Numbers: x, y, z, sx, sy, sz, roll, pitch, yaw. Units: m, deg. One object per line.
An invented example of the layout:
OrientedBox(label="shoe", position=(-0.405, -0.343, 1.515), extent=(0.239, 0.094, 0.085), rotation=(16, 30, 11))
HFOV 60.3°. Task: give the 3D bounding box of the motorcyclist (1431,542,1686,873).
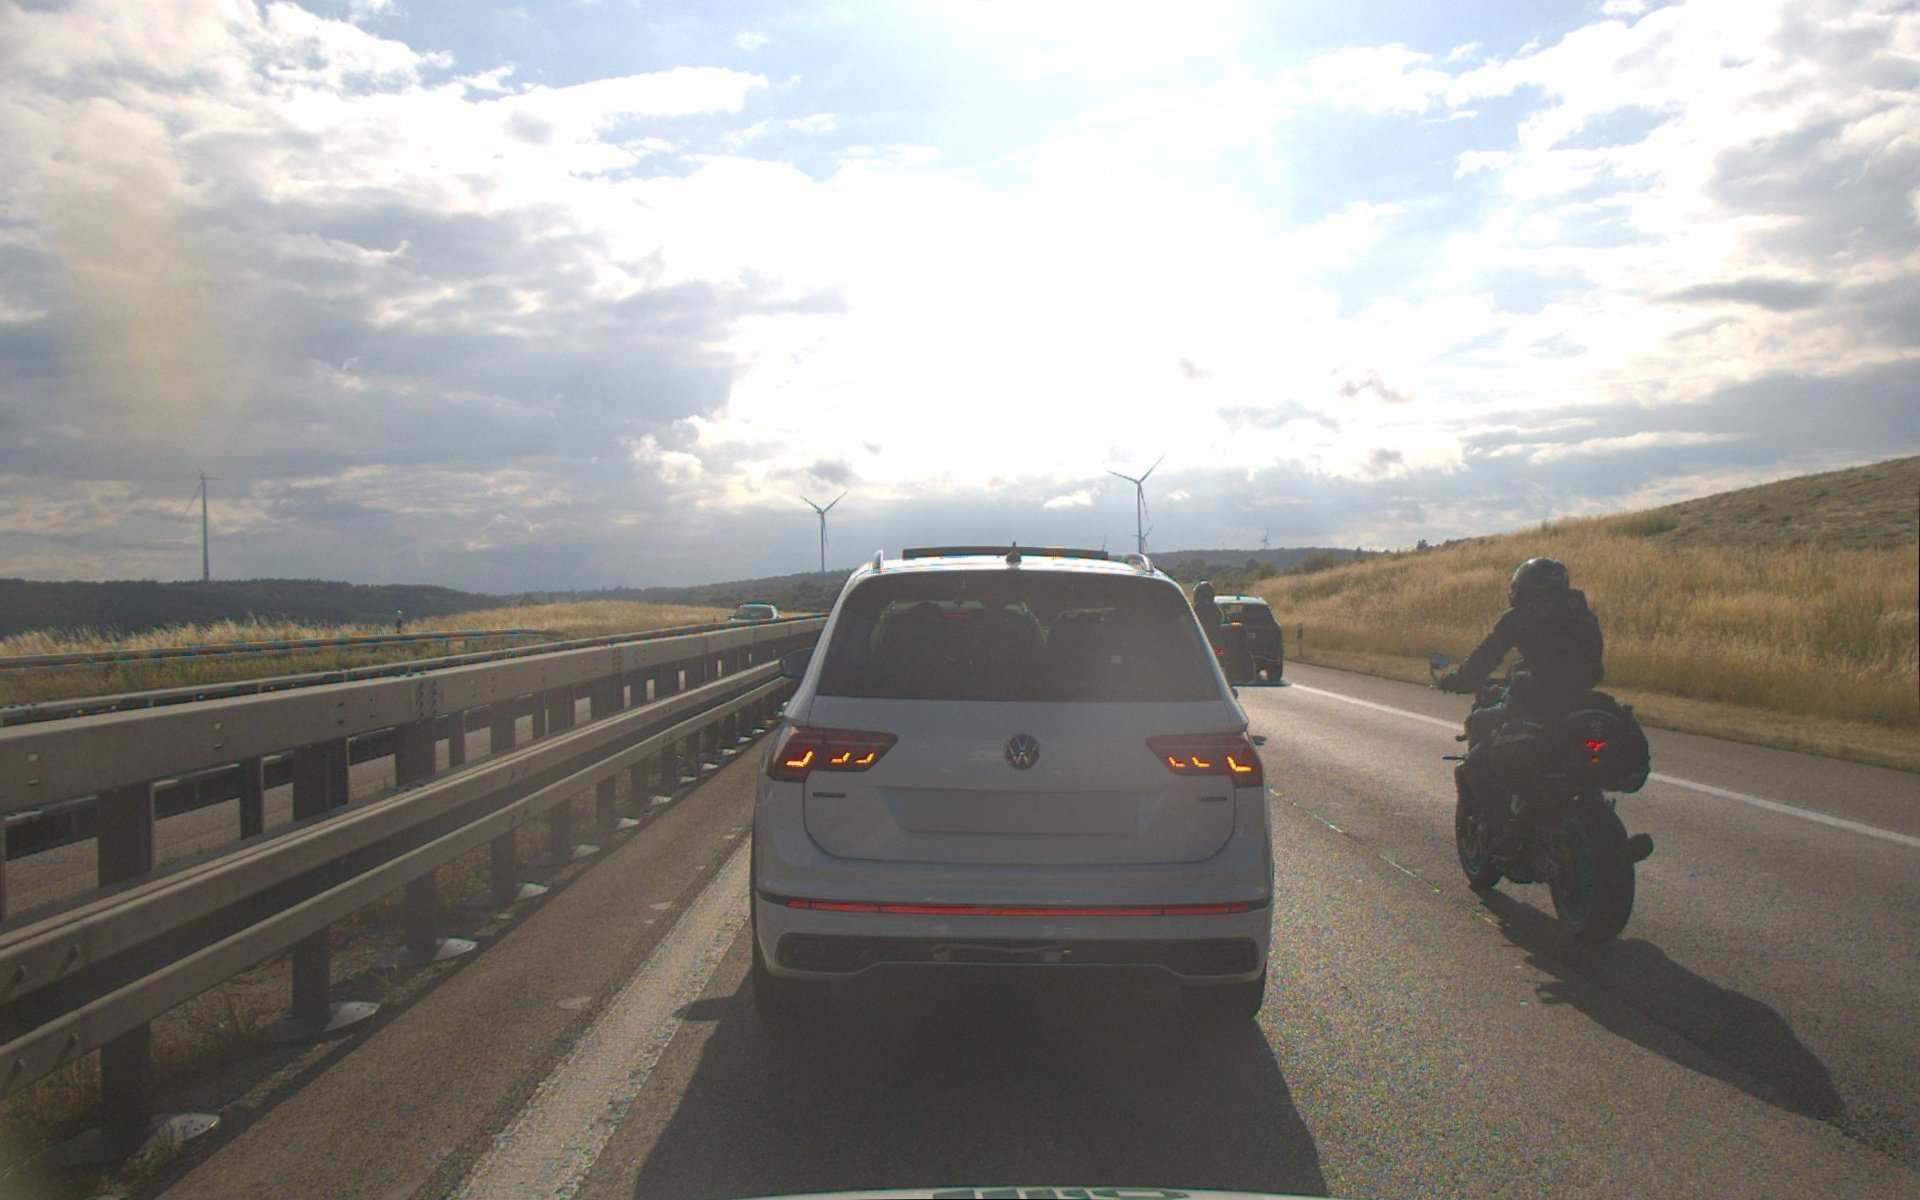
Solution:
OrientedBox(label="motorcyclist", position=(2.809, 0.483, 7.856), extent=(0.877, 1.481, 0.892), rotation=(0, -1, -2))

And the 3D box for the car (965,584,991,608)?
OrientedBox(label="car", position=(1.188, -0.228, 110.058), extent=(1.669, 1.573, 3.999), rotation=(0, 0, -1))

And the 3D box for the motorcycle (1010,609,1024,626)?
OrientedBox(label="motorcycle", position=(4.106, 1.241, 119.305), extent=(0.877, 1.211, 2.256), rotation=(0, 0, -1))

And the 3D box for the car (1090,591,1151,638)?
OrientedBox(label="car", position=(5.572, 0.501, 57.773), extent=(1.669, 1.573, 3.999), rotation=(0, 0, -1))

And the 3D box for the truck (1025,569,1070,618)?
OrientedBox(label="truck", position=(6.698, -0.529, 128.455), extent=(3.118, 3.656, 11.132), rotation=(0, 0, 1))

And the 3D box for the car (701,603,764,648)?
OrientedBox(label="car", position=(-7.967, 0.868, 58.203), extent=(1.697, 1.511, 3.999), rotation=(0, 0, -1))

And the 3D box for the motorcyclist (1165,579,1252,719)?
OrientedBox(label="motorcyclist", position=(3.003, 0.581, 20.049), extent=(0.877, 1.645, 1.022), rotation=(0, -1, -1))

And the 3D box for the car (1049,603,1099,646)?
OrientedBox(label="car", position=(4.580, 0.961, 66.867), extent=(1.669, 1.679, 3.999), rotation=(0, 0, -1))

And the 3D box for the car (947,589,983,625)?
OrientedBox(label="car", position=(0.227, 0.348, 79.971), extent=(1.669, 1.679, 3.999), rotation=(0, 0, -1))

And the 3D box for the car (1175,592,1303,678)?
OrientedBox(label="car", position=(5.736, 0.697, 34.476), extent=(1.784, 1.629, 4.233), rotation=(2, 0, -2))

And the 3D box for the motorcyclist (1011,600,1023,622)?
OrientedBox(label="motorcyclist", position=(4.110, 0.823, 119.264), extent=(0.832, 1.587, 0.934), rotation=(0, -1, -1))

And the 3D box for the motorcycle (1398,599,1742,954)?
OrientedBox(label="motorcycle", position=(2.814, 0.744, 7.908), extent=(0.877, 1.481, 1.982), rotation=(0, 0, -1))

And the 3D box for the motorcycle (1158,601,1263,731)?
OrientedBox(label="motorcycle", position=(3.006, 0.760, 20.066), extent=(0.877, 1.481, 2.268), rotation=(0, 0, -1))

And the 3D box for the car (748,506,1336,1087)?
OrientedBox(label="car", position=(0.220, 0.589, 6.881), extent=(1.734, 1.705, 3.999), rotation=(0, 0, -1))
